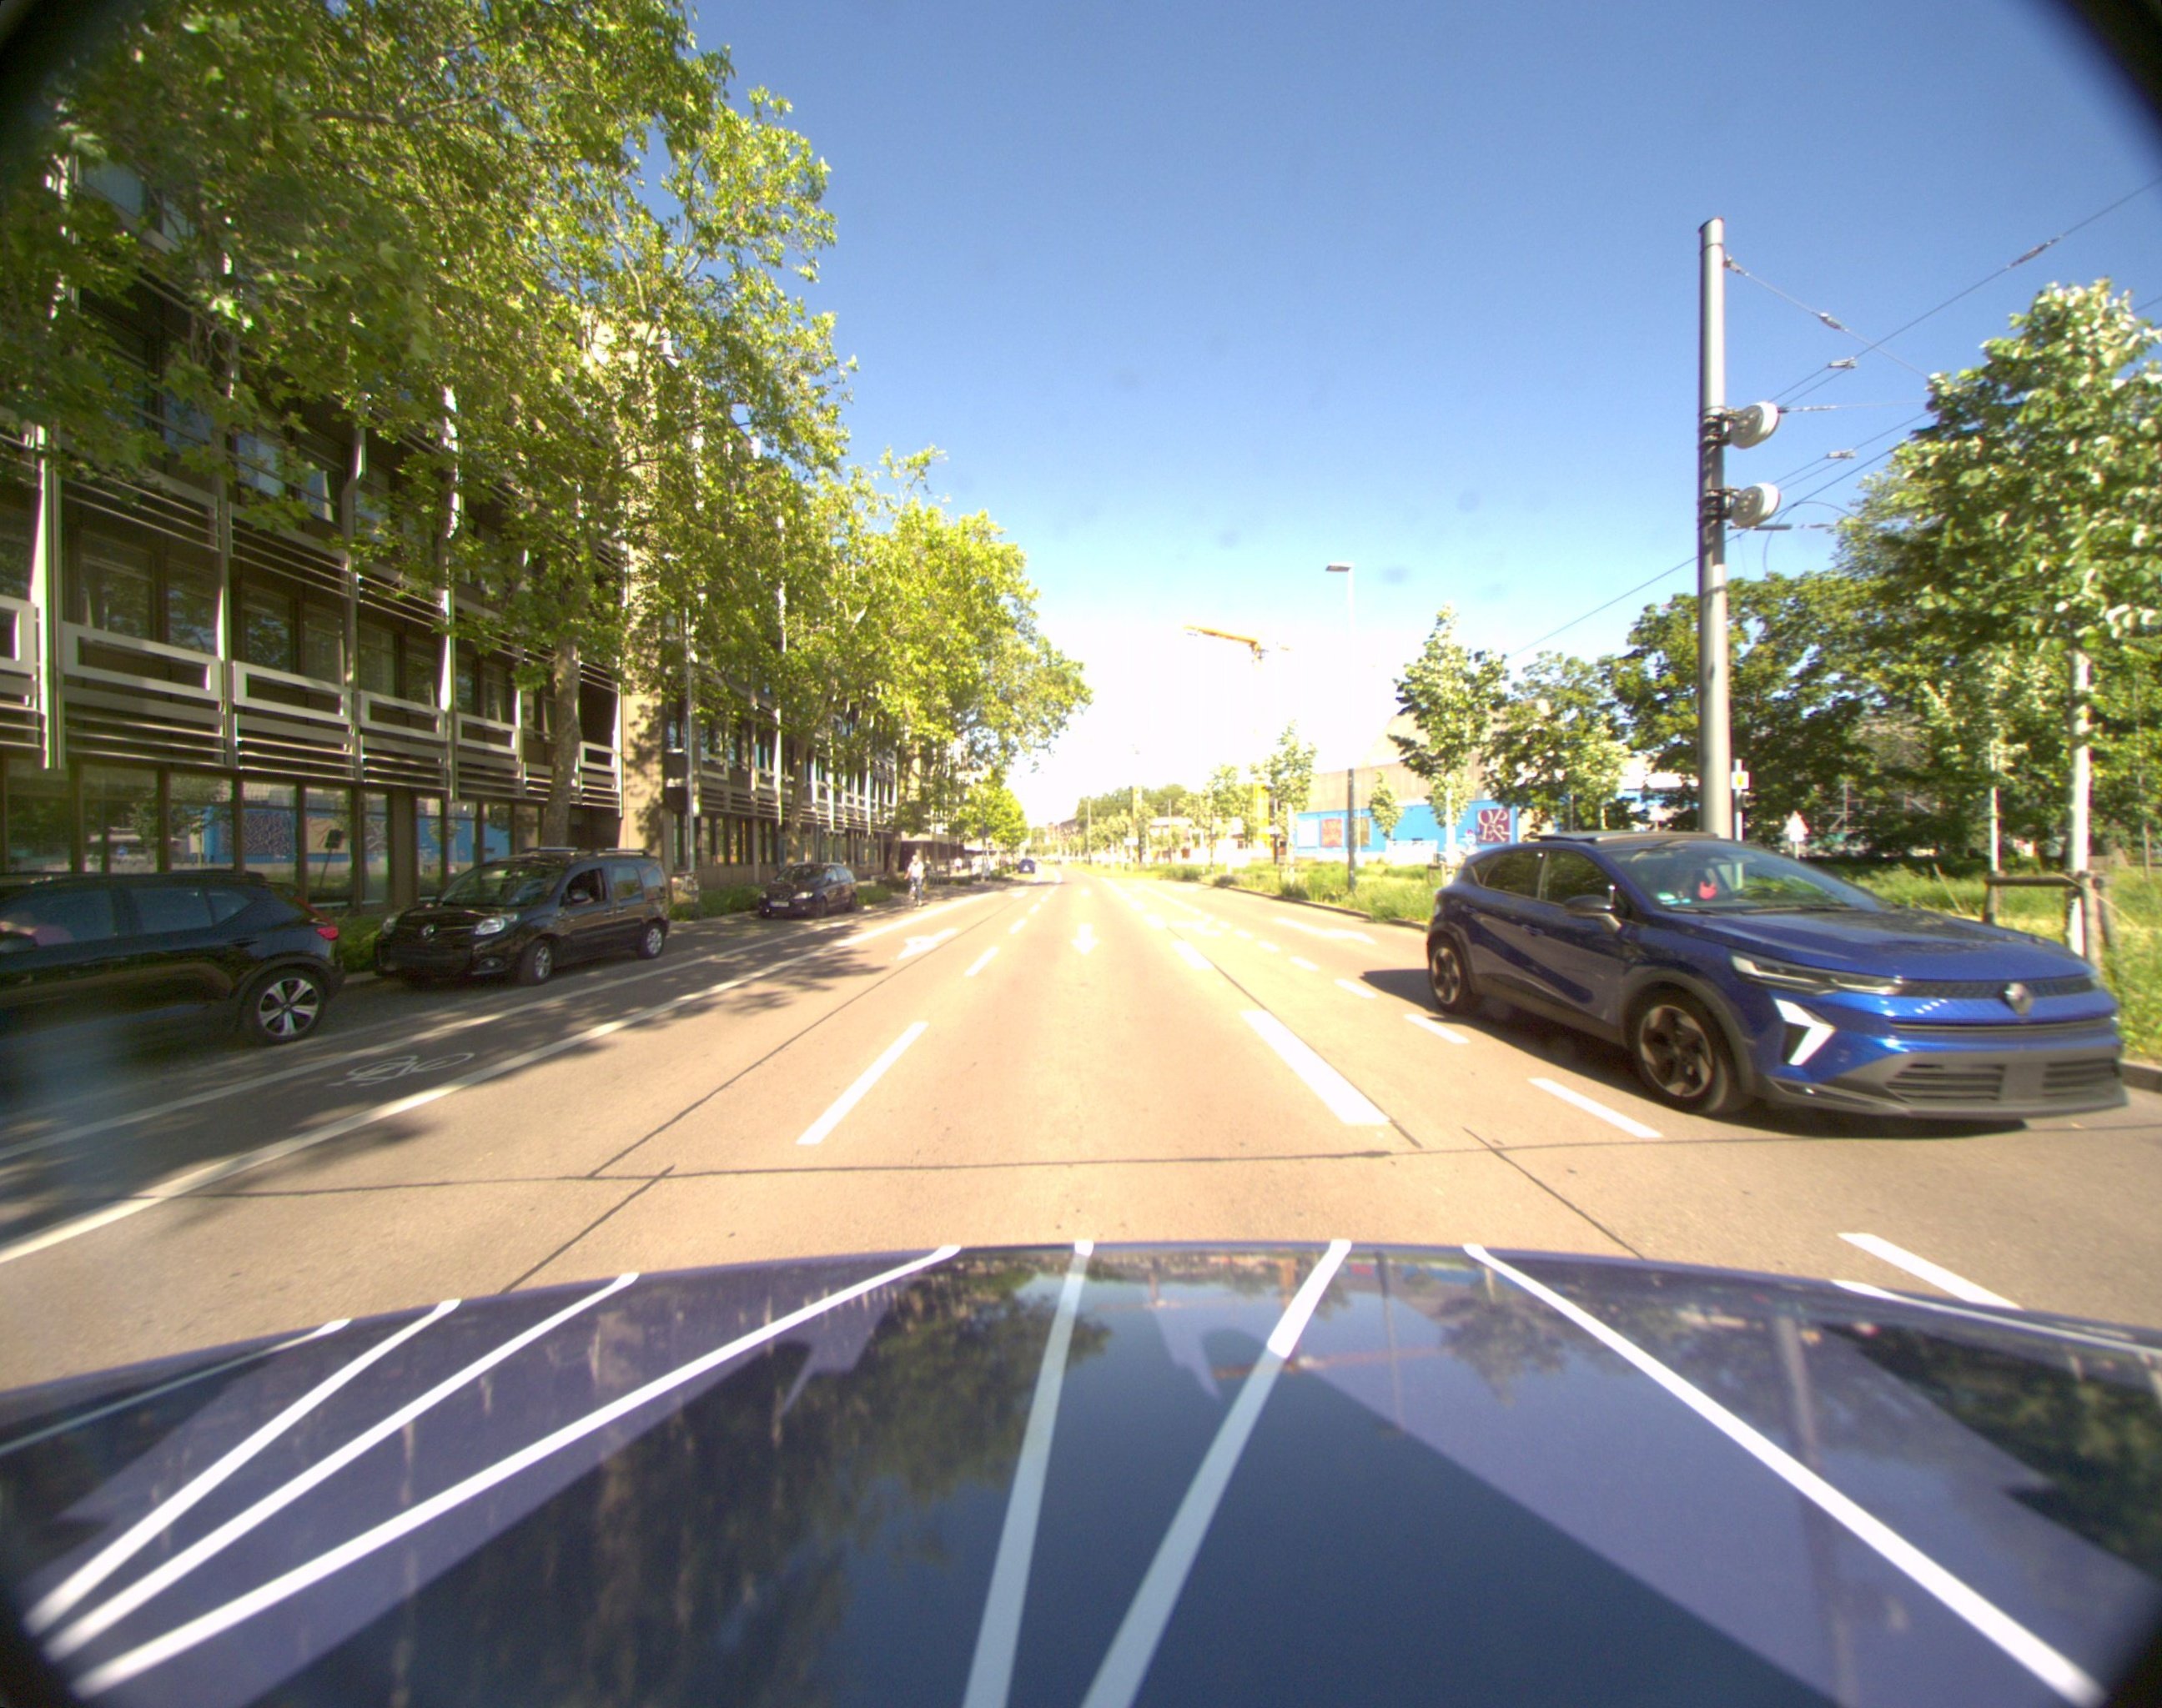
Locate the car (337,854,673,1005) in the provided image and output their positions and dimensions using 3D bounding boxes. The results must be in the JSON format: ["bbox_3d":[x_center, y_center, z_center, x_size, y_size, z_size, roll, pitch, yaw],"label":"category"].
[{"bbox_3d":[-8.021,0.906,11.188,1.708,1.779,4.192,1,0,1],"label":"car"}]

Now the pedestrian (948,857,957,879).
[{"bbox_3d":[-9.932,1.092,58.835,0.512,1.691,0.774,-1,0,0],"label":"pedestrian"}]

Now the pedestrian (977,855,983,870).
[{"bbox_3d":[-9.783,0.819,73.587,0.512,1.466,0.736,-1,0,0],"label":"pedestrian"}]

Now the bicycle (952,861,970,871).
[{"bbox_3d":[-12.456,1.207,78.870,1.862,1.005,0.426,1,1,1],"label":"bicycle"}]

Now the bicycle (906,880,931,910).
[{"bbox_3d":[-5.608,1.401,26.310,0.499,0.900,2.196,-3,0,-4],"label":"bicycle"}]

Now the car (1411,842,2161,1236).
[{"bbox_3d":[4.129,0.786,5.314,1.749,1.613,4.152,-2,0,-1],"label":"car"}]

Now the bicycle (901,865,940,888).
[{"bbox_3d":[-8.675,1.218,41.103,1.942,1.229,0.579,1,0,-2],"label":"bicycle"}]

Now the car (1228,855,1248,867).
[{"bbox_3d":[19.830,0.861,96.015,1.637,1.390,3.832,-1,0,-1],"label":"car"}]

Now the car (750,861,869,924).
[{"bbox_3d":[-7.952,1.045,22.725,1.708,1.633,4.637,1,0,2],"label":"car"}]

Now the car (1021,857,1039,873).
[{"bbox_3d":[-5.742,1.221,85.981,1.854,1.647,4.847,1,0,-2],"label":"car"}]

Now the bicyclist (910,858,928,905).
[{"bbox_3d":[-5.625,0.952,26.365,0.514,1.592,0.536,-1,1,-4],"label":"bicyclist"}]

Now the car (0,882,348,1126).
[{"bbox_3d":[-8.181,1.082,5.449,1.708,1.554,4.192,-1,0,1],"label":"car"}]

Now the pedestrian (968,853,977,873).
[{"bbox_3d":[-9.359,0.746,65.788,0.649,1.718,0.803,-1,0,0],"label":"pedestrian"}]

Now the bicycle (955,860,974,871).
[{"bbox_3d":[-11.891,1.176,77.484,1.862,1.091,0.426,1,1,1],"label":"bicycle"}]
